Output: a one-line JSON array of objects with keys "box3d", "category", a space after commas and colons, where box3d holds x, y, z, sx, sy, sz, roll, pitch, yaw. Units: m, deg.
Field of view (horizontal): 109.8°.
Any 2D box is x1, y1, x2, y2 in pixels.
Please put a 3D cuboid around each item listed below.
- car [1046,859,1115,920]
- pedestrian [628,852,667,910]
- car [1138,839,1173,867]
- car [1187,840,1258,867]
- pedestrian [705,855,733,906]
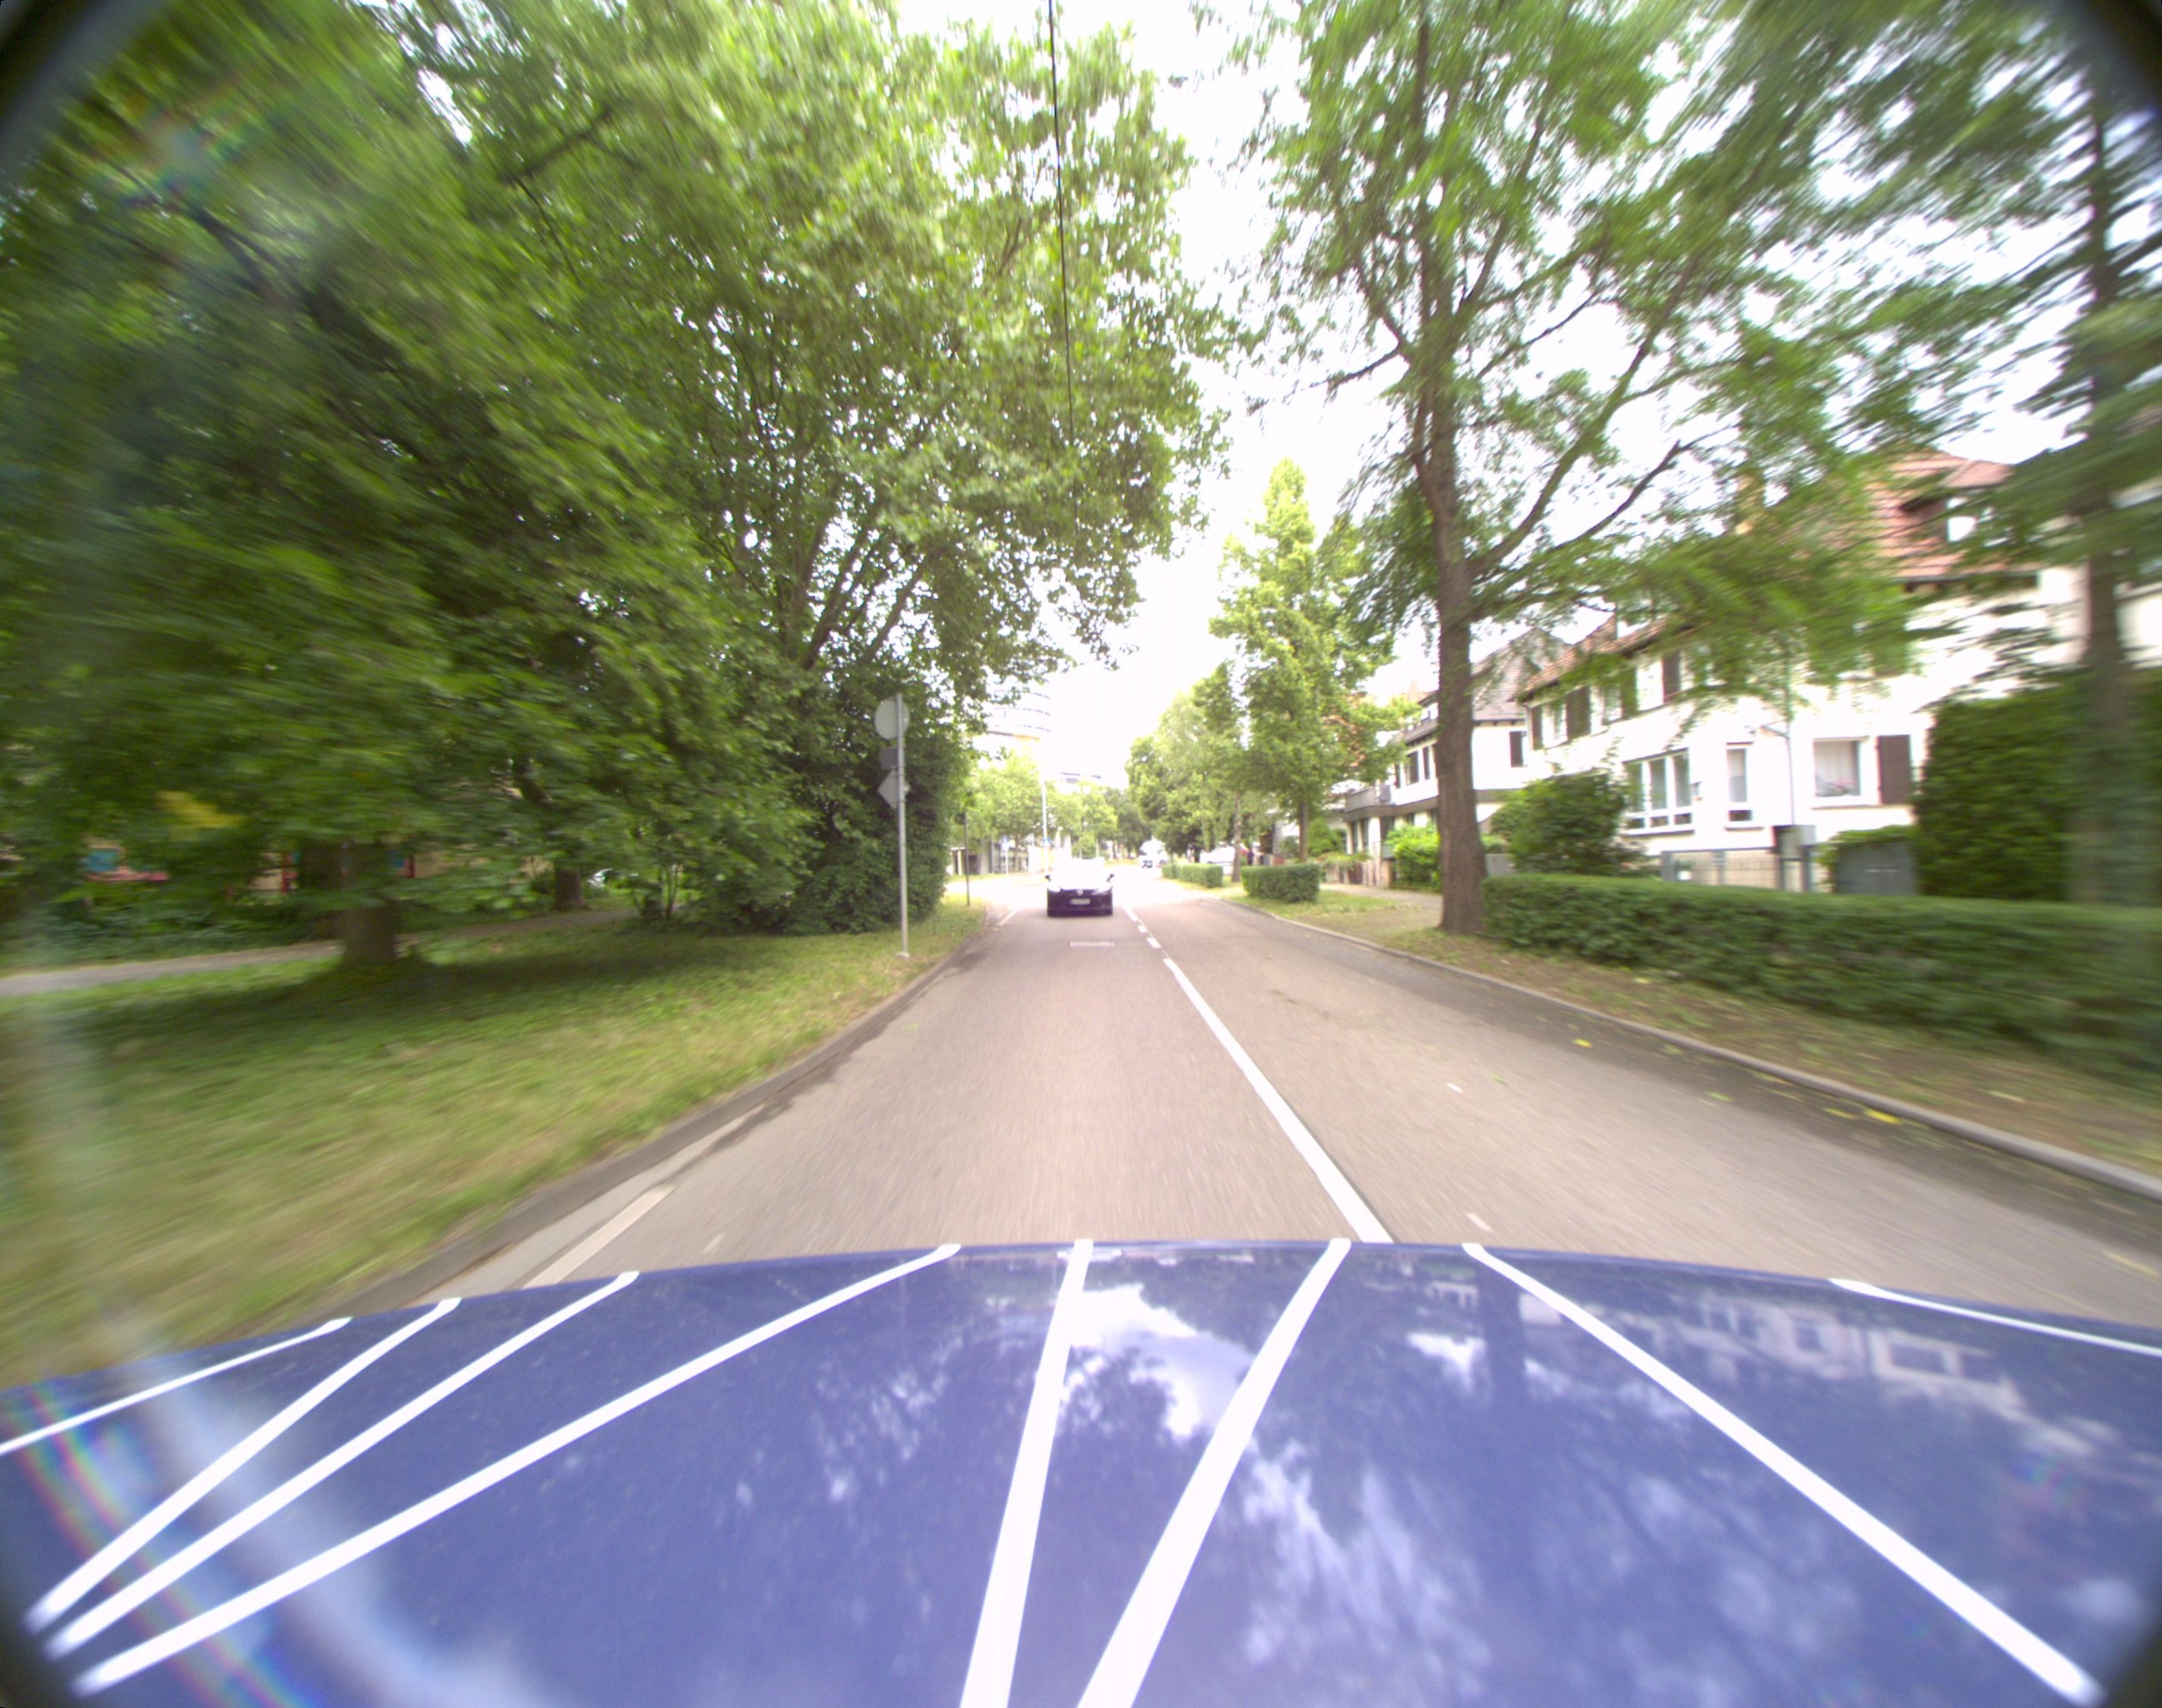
[{"box3d": [0.034, 0.950, 22.249, 1.798, 1.552, 4.471, -1, 0, 1], "category": "car"}, {"box3d": [-13.805, 0.839, 24.206, 0.759, 1.785, 0.895, -2, 0, -9], "category": "pedestrian"}, {"box3d": [9.142, -0.178, 92.619, 2.432, 3.256, 7.801, -1, 1, 19], "category": "car"}, {"box3d": [13.458, -0.034, 72.222, 6.376, 2.334, 1.973, -1, 0, -20], "category": "car"}, {"box3d": [-11.881, 0.857, 24.959, 0.650, 1.651, 0.649, -1, 0, -9], "category": "pedestrian"}]
